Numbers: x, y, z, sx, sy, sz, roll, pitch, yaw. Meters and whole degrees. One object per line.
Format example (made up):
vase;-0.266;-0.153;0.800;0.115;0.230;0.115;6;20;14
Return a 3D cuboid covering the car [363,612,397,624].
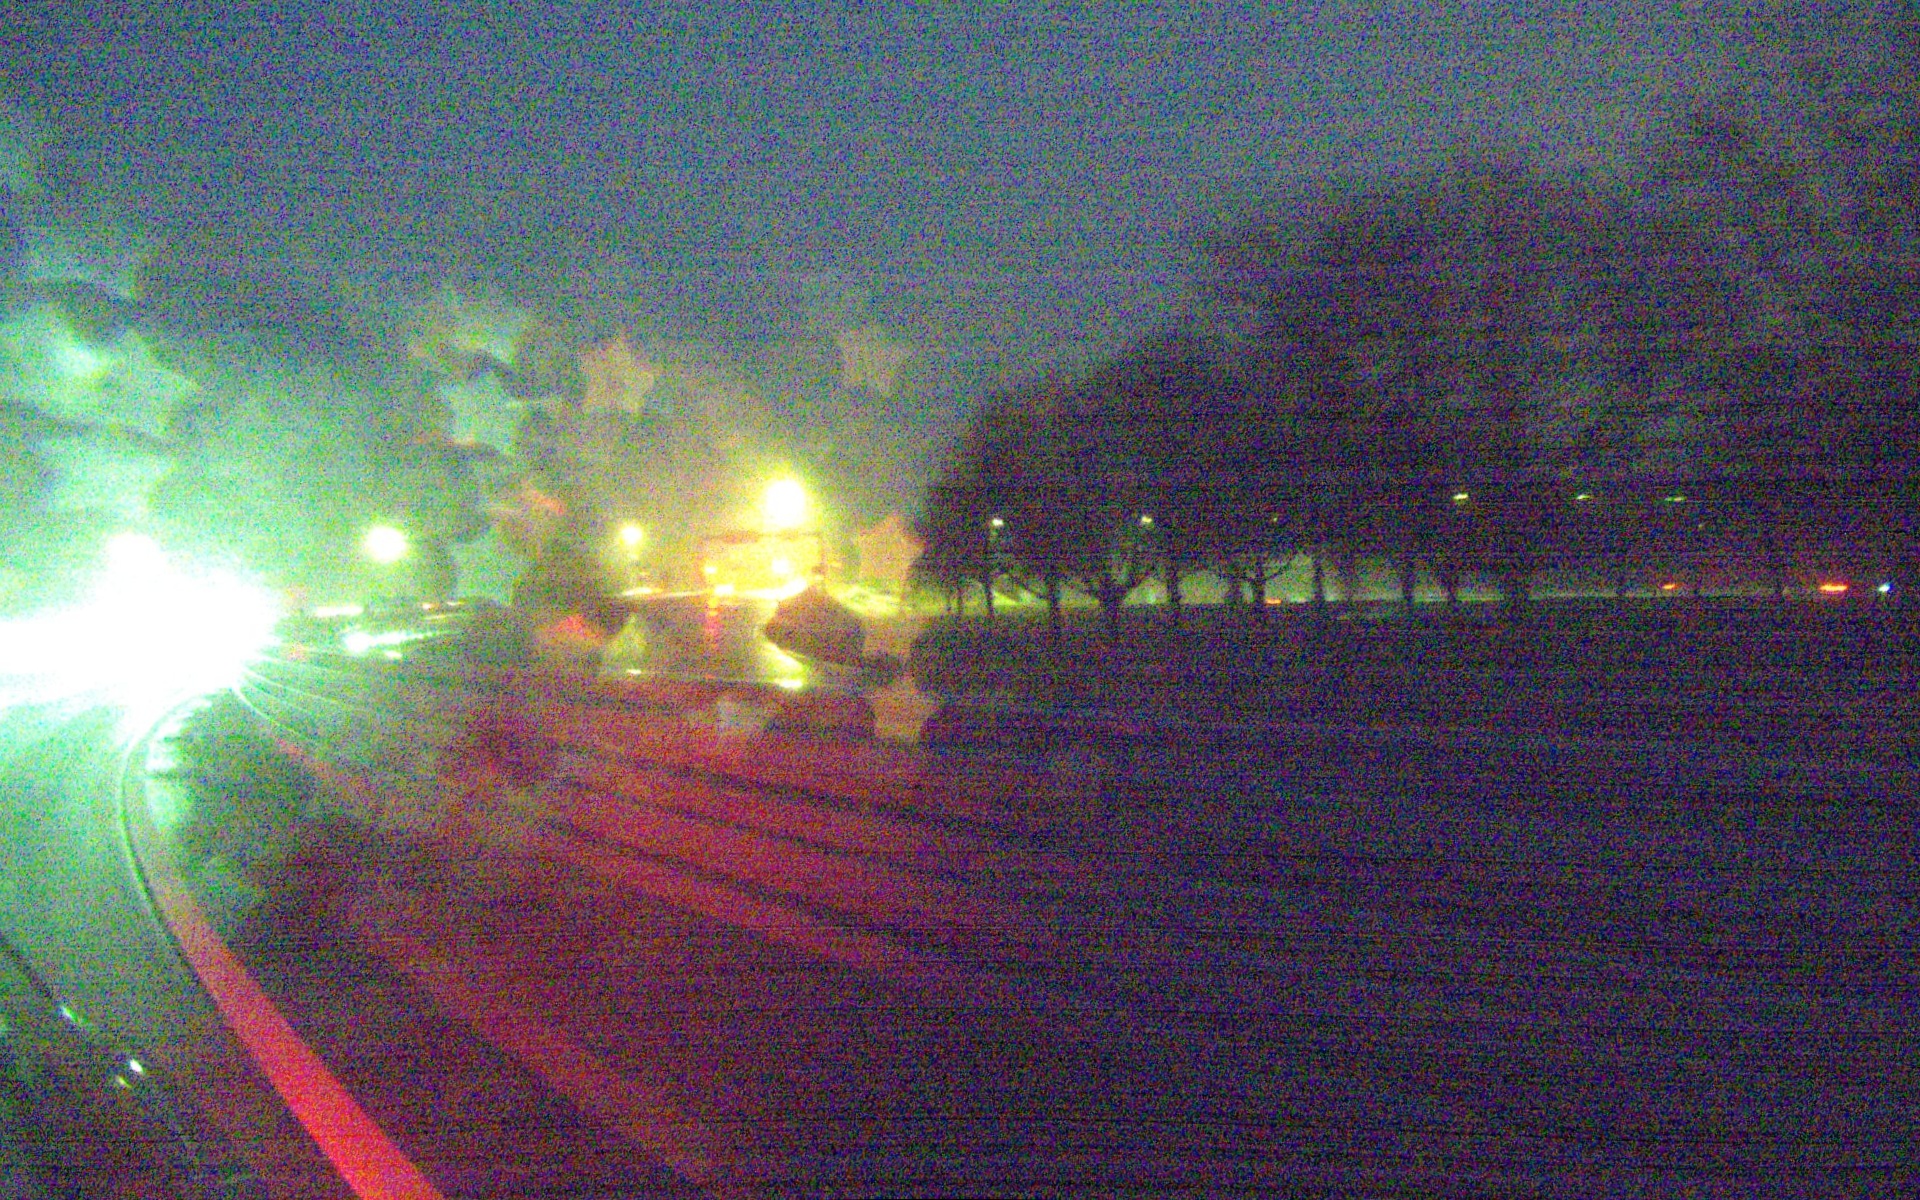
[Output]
car;-79.575;2.498;138.894;3.931;1.452;1.724;-4;0;-25

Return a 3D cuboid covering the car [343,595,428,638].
car;-26.105;0.718;46.157;1.968;1.760;4.108;-3;1;-9

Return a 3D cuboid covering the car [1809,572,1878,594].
car;72.852;-1.399;83.505;1.969;1.630;4.006;-4;1;-41

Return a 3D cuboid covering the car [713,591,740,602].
car;-37.448;-0.602;162.068;3.931;1.452;1.724;-4;-1;-23
